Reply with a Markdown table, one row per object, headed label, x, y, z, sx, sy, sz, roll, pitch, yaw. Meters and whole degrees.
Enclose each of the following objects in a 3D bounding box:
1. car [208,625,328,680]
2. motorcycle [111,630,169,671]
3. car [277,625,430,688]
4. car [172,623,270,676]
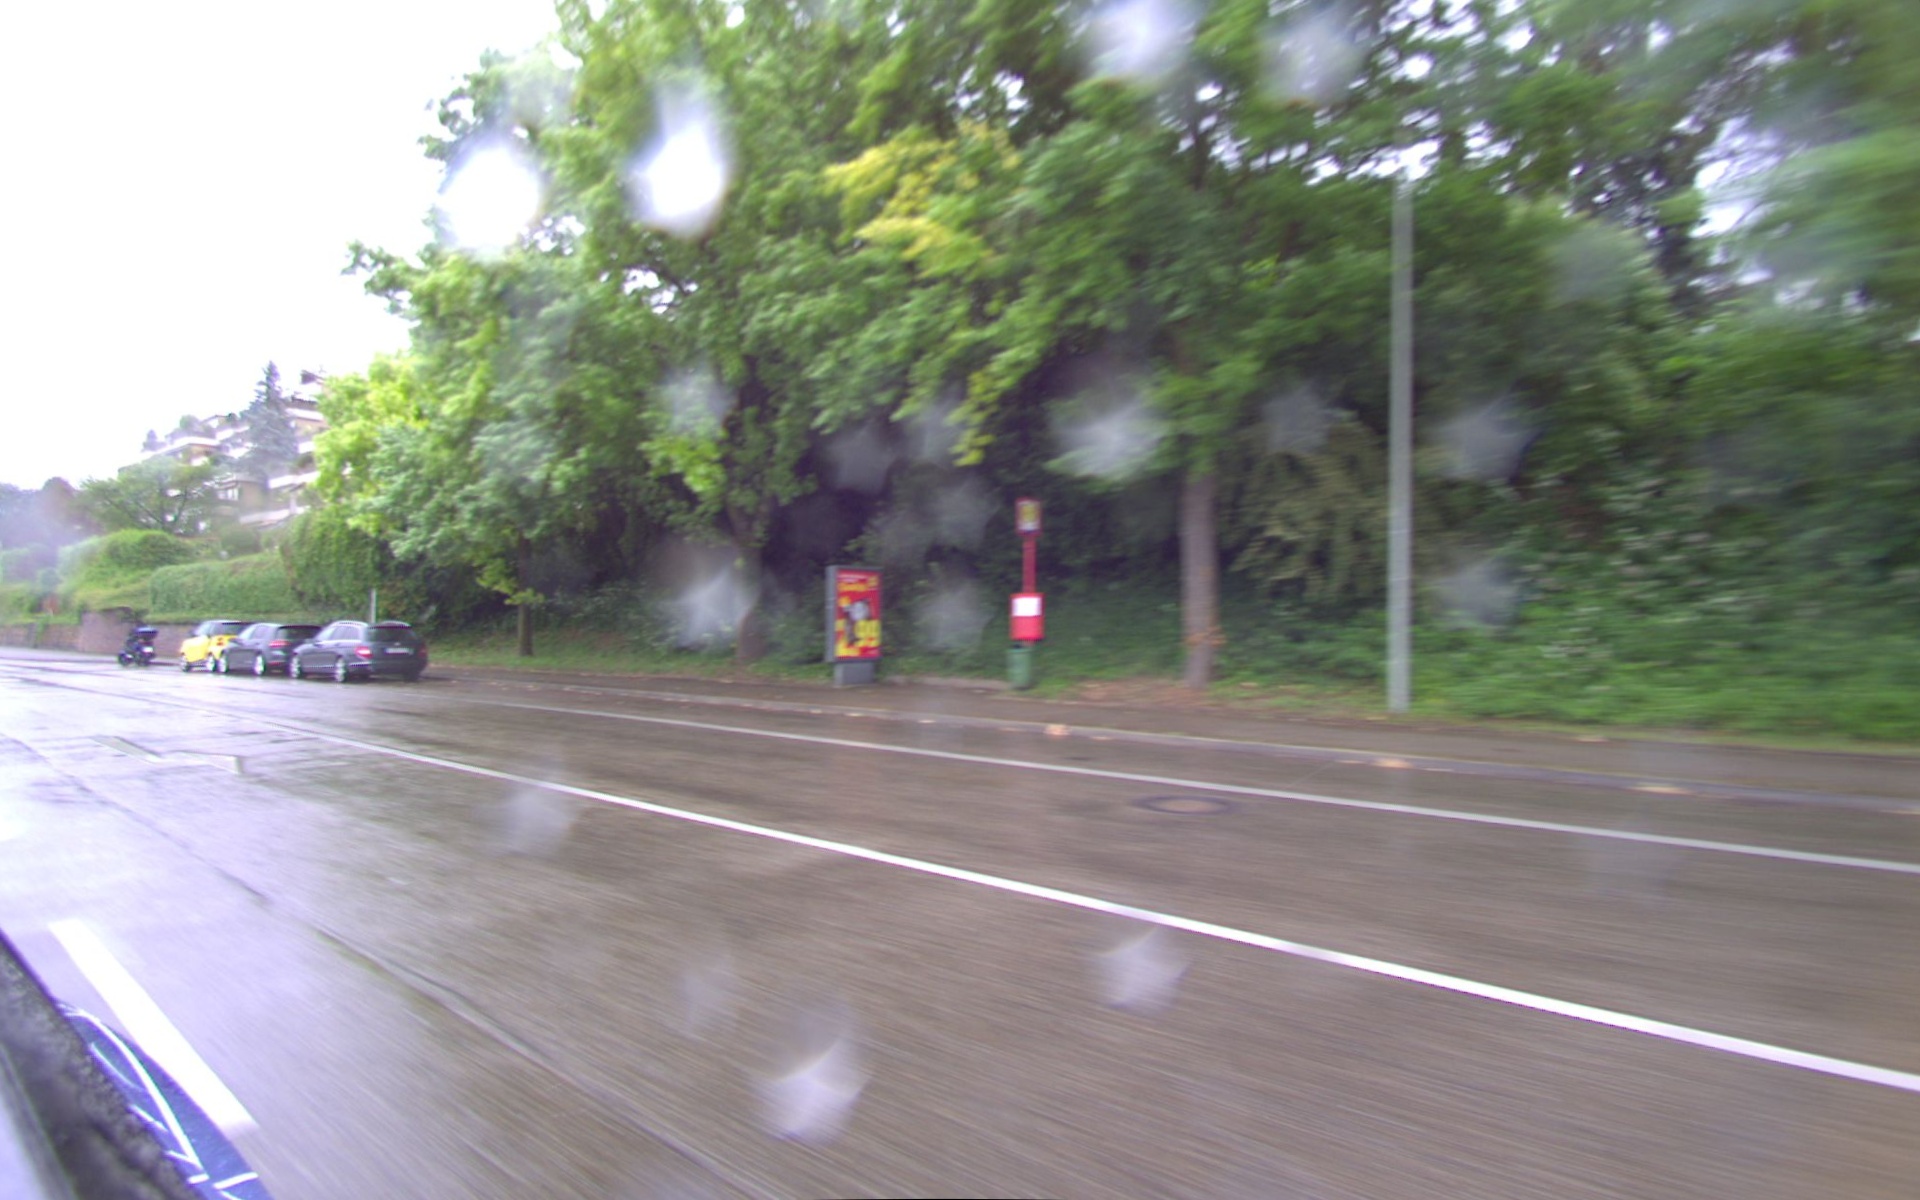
| label | x | y | z | sx | sy | sz | roll | pitch | yaw |
| --- | --- | --- | --- | --- | --- | --- | --- | --- | --- |
| car | -19.356 | 1.423 | 28.268 | 4.094 | 1.430 | 1.421 | -1 | -2 | 35 |
| motorcycle | -28.148 | 1.713 | 34.744 | 2.492 | 1.351 | 0.830 | -1 | -2 | 34 |
| car | -15.133 | 1.349 | 25.168 | 4.734 | 1.430 | 1.671 | -1 | -2 | 38 |
| car | -22.435 | 1.480 | 30.707 | 2.810 | 1.549 | 1.422 | -1 | -2 | 32 |
